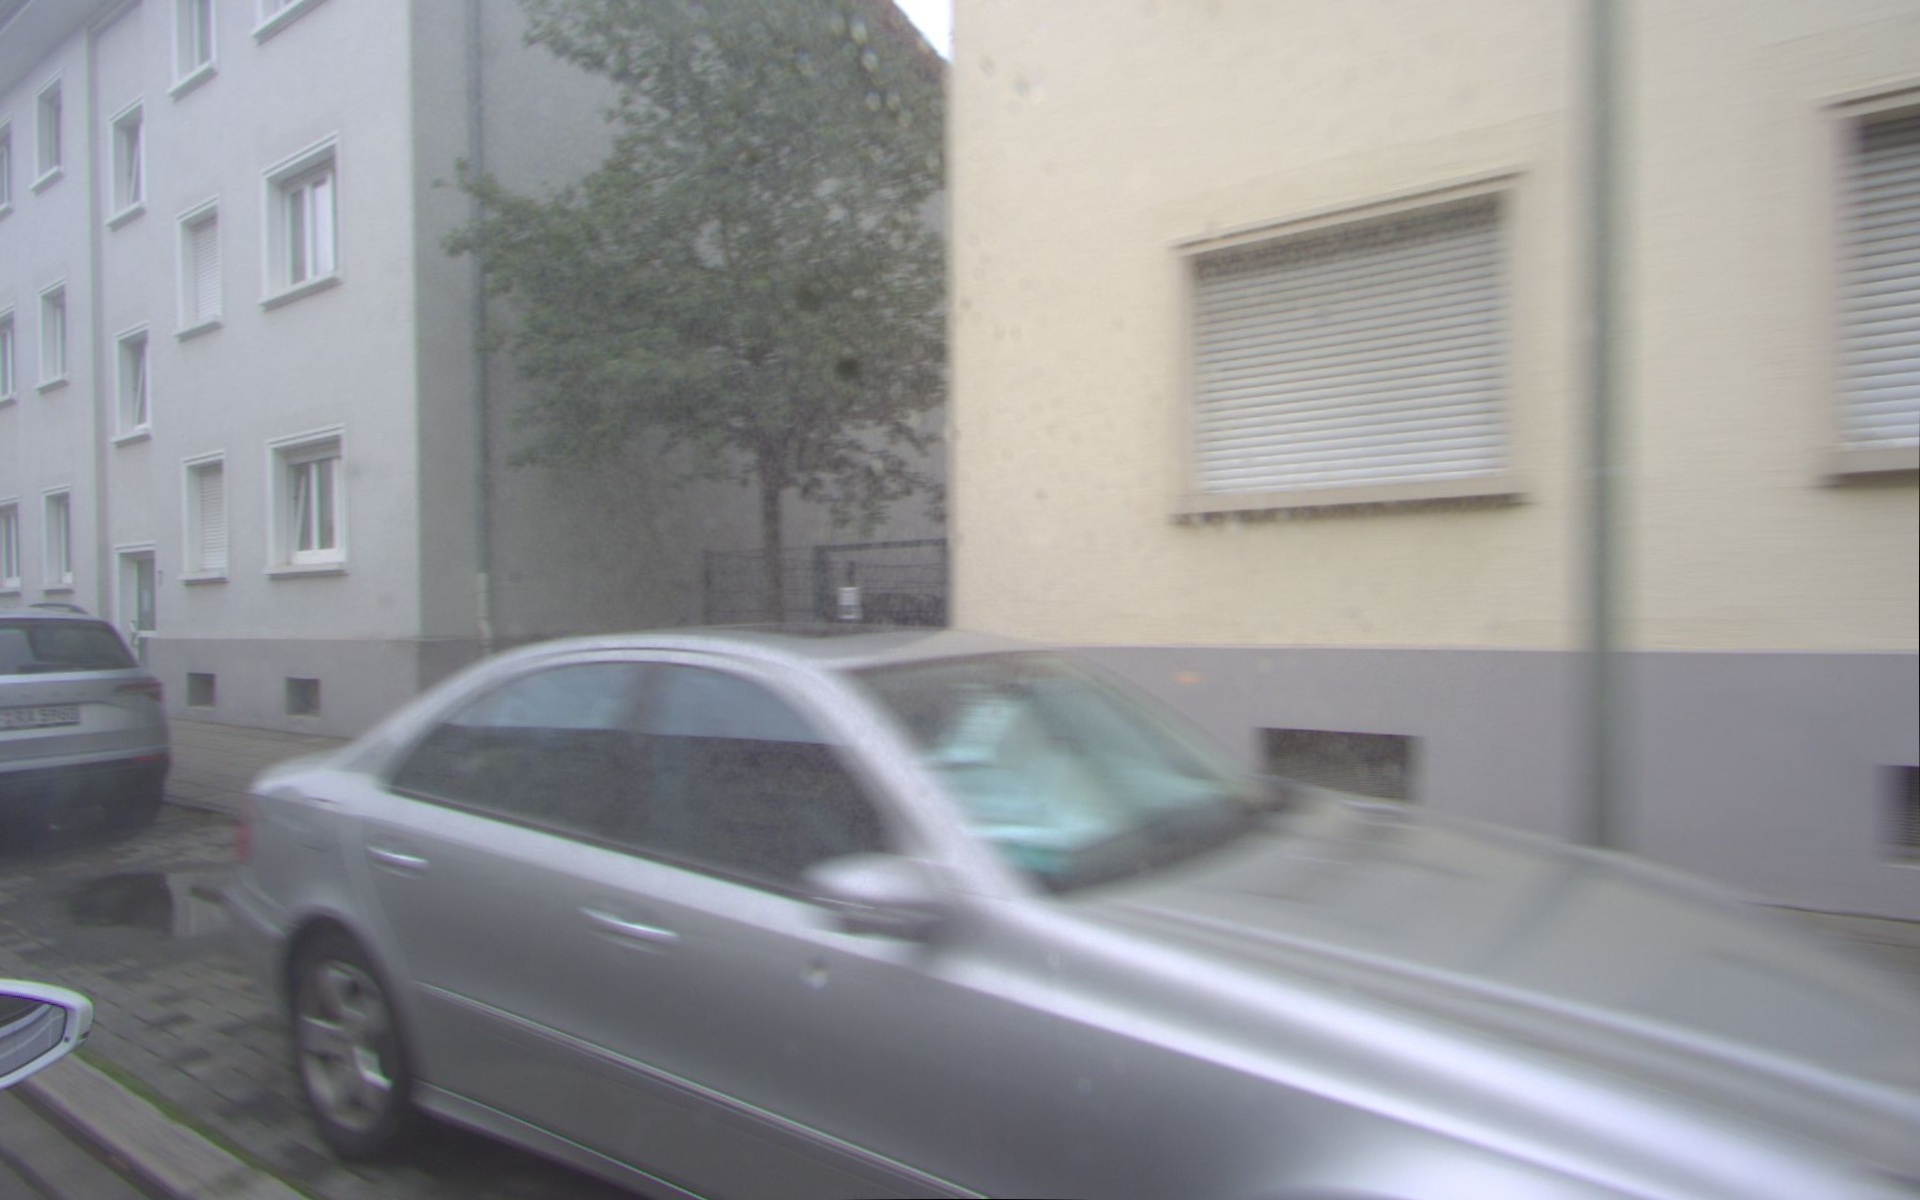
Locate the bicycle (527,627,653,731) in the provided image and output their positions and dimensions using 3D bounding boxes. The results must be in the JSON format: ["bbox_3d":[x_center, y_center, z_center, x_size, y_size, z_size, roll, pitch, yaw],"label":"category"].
[{"bbox_3d":[-4.146,0.859,11.285,0.491,1.076,1.289,0,0,34],"label":"bicycle"}]

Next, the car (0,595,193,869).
[{"bbox_3d":[-7.459,0.824,7.262,4.034,1.663,1.816,-1,-1,34],"label":"car"}]

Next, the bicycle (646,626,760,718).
[{"bbox_3d":[-3.257,0.885,12.806,0.491,1.076,1.444,0,0,34],"label":"bicycle"}]

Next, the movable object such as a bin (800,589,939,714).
[{"bbox_3d":[-1.072,0.579,11.970,1.204,1.397,1.134,0,1,35],"label":"movable object such as a bin"}]

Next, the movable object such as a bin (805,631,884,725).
[{"bbox_3d":[-1.252,0.827,10.881,0.639,0.965,0.553,0,1,35],"label":"movable object such as a bin"}]

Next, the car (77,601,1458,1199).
[{"bbox_3d":[-0.957,0.788,3.224,4.441,1.496,1.721,-1,-1,33],"label":"car"}]
